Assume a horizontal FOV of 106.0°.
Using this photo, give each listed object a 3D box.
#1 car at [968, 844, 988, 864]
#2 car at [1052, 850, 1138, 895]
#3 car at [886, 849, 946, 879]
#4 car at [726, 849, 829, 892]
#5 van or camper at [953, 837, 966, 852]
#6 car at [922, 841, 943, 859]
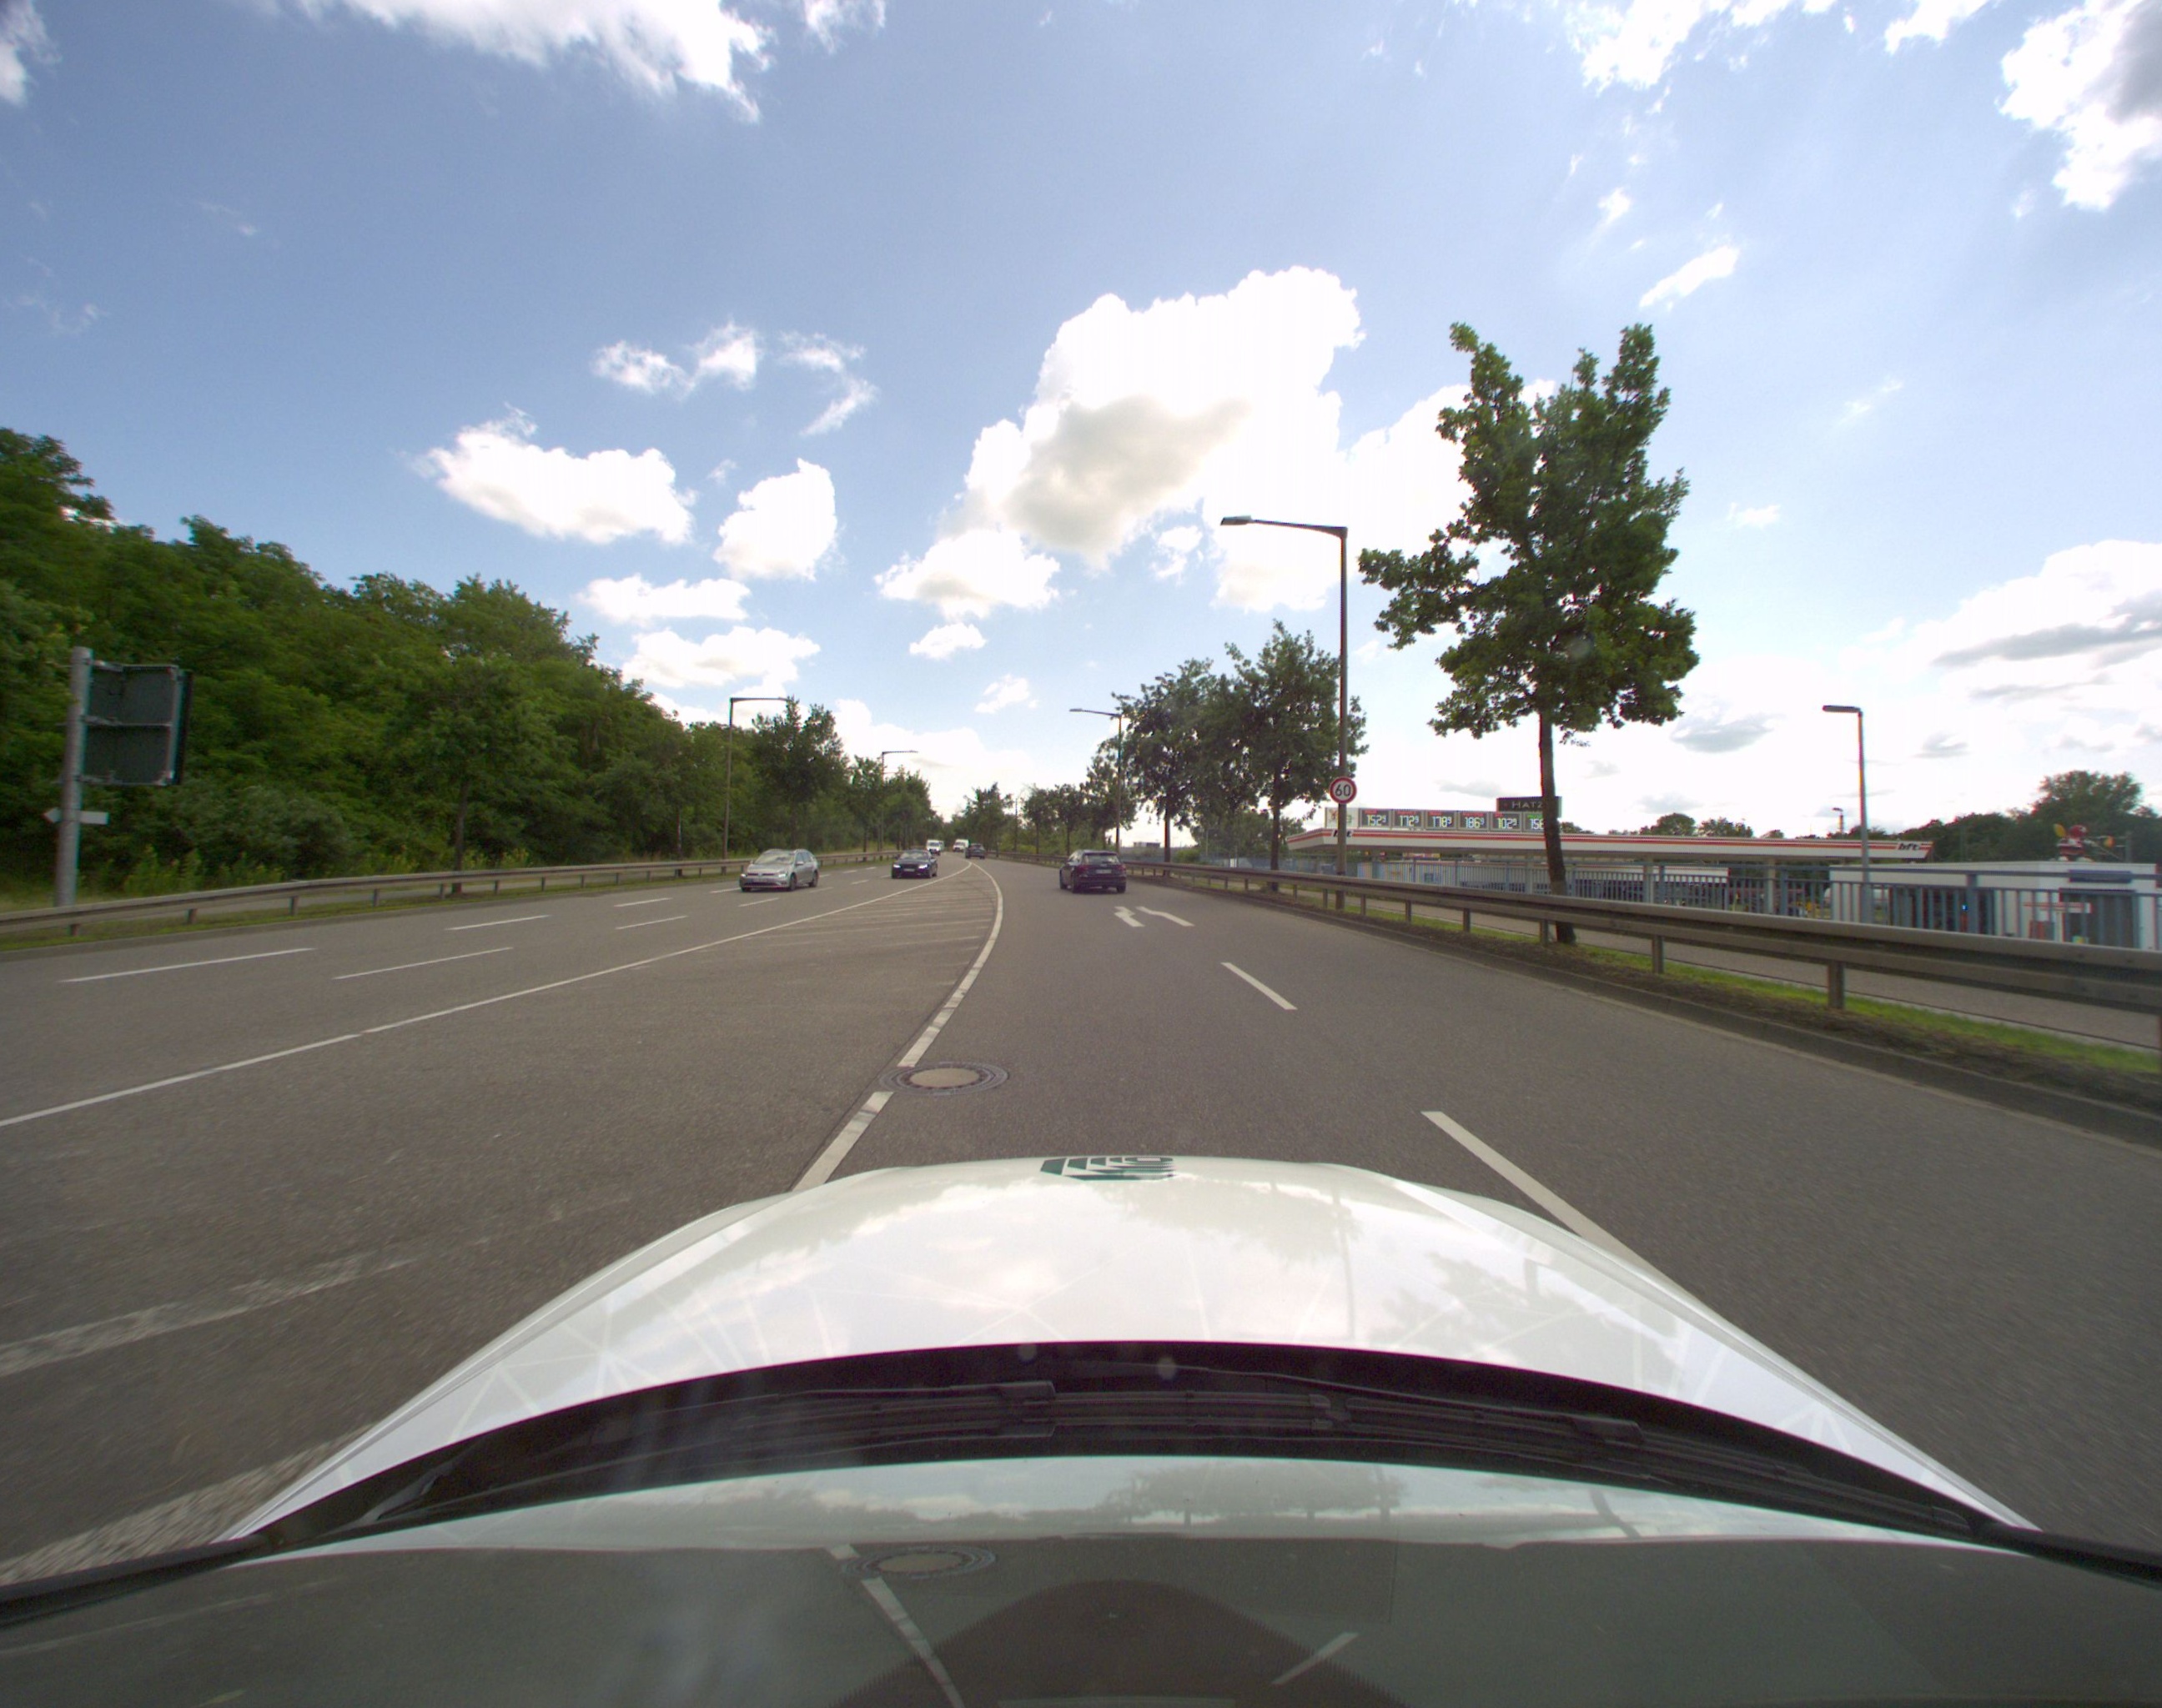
[{"bbox_3d":[-11.188,0.031,88.673,1.991,2.037,4.702,1,-2,-6],"label":"car"},{"bbox_3d":[0.365,0.604,28.342,1.995,1.390,4.557,2,0,-12],"label":"car"},{"bbox_3d":[-8.069,0.476,40.172,1.897,1.363,4.576,-1,0,1],"label":"car"},{"bbox_3d":[-10.973,0.553,29.808,1.987,1.396,4.699,0,1,0],"label":"car"},{"bbox_3d":[-23.421,-1.848,157.271,1.995,2.750,5.362,3,-1,-12],"label":"van or camper"},{"bbox_3d":[-17.715,-0.501,97.499,1.990,2.013,4.551,2,1,-5],"label":"car"}]
